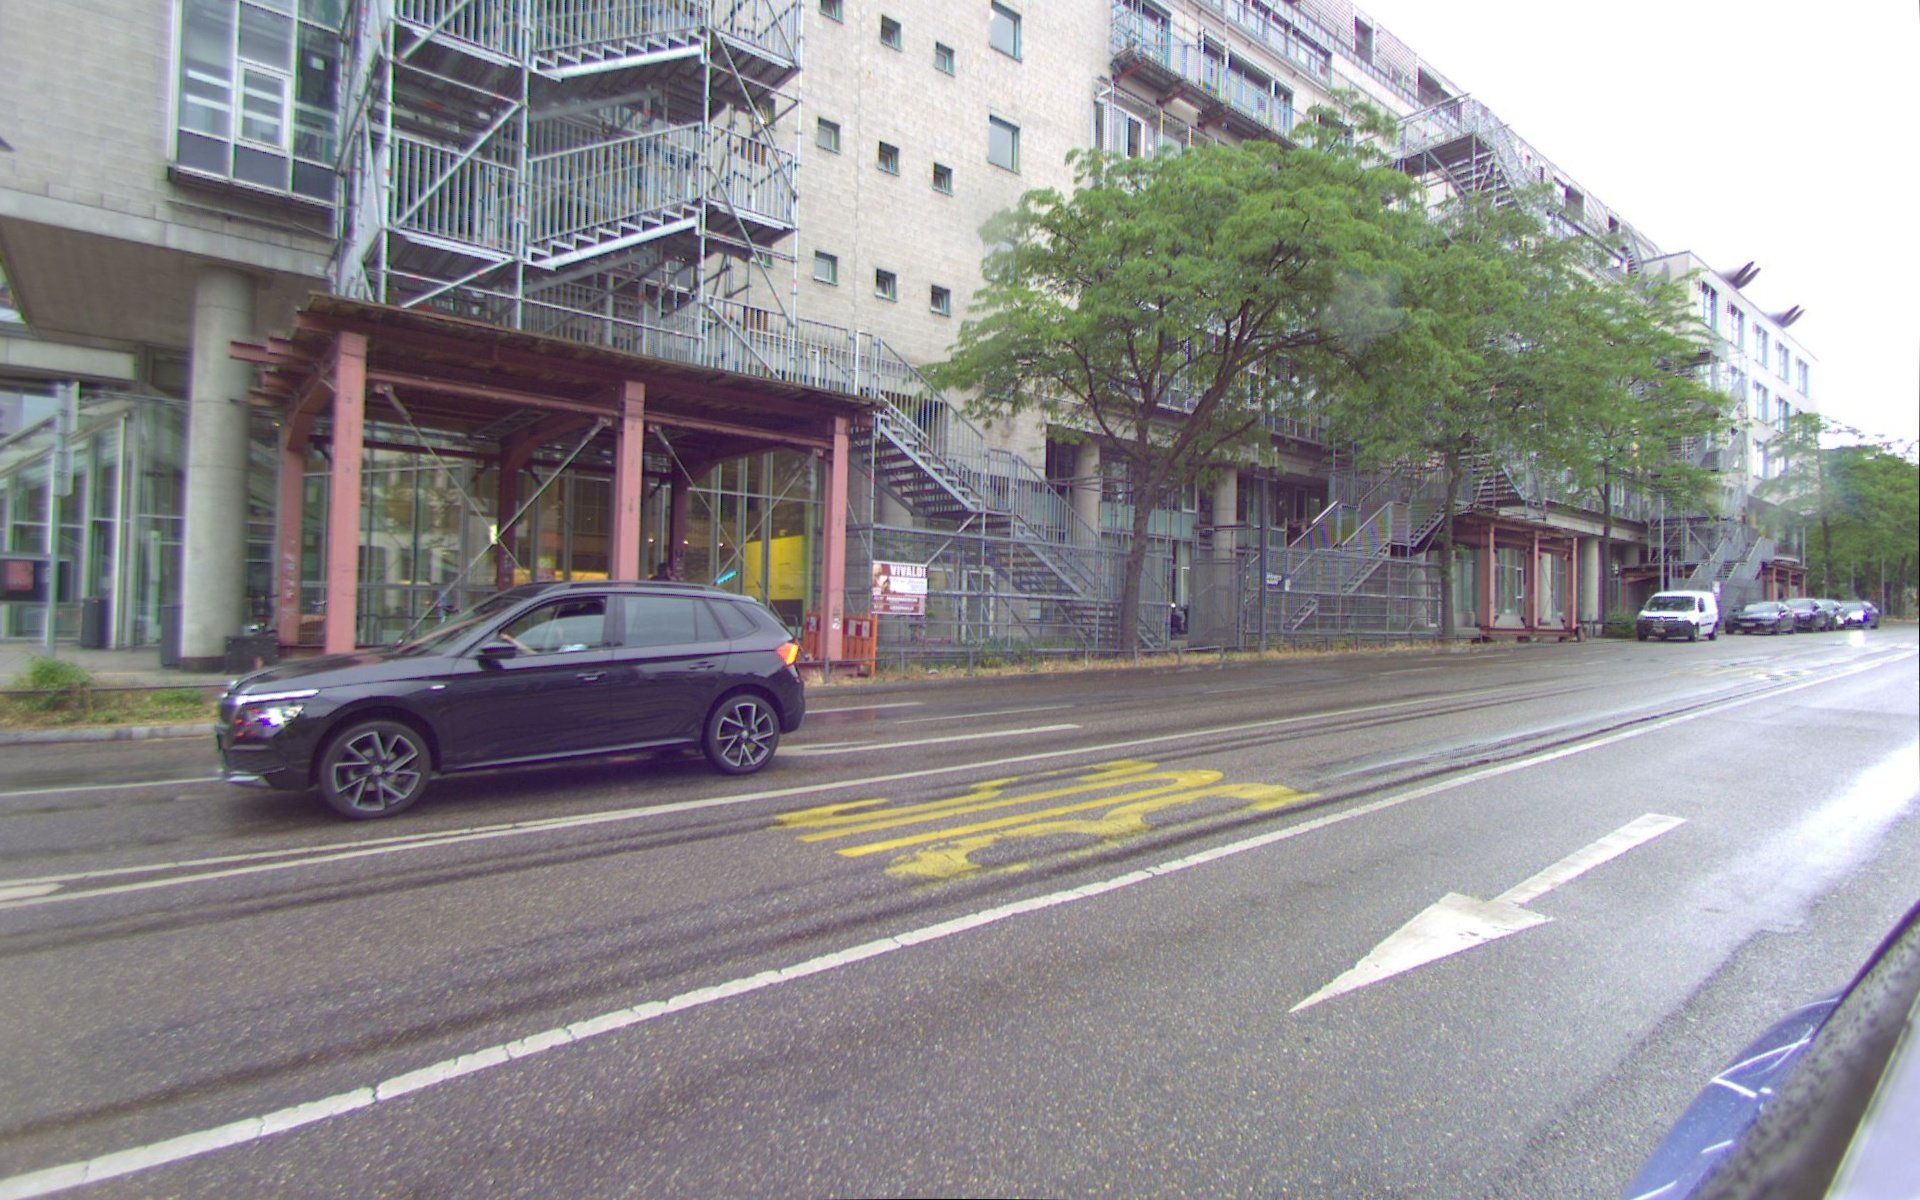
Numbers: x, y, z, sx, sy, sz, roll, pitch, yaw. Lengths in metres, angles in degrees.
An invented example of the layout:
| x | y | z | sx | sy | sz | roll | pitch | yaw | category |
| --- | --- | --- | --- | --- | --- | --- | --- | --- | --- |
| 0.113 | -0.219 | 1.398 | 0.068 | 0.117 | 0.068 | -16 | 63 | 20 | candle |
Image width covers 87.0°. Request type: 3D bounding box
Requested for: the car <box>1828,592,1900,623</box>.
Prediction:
| x | y | z | sx | sy | sz | roll | pitch | yaw | category |
| --- | --- | --- | --- | --- | --- | --- | --- | --- | --- |
| 49.121 | 0.400 | 54.965 | 5.191 | 1.621 | 1.999 | 0 | 0 | -38 | car |

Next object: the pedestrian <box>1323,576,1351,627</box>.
| x | y | z | sx | sy | sz | roll | pitch | yaw | category |
| --- | --- | --- | --- | --- | --- | --- | --- | --- | --- |
| 13.254 | 0.037 | 35.611 | 0.641 | 1.764 | 0.678 | 0 | 0 | -38 | pedestrian |

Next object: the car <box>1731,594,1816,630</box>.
| x | y | z | sx | sy | sz | roll | pitch | yaw | category |
| --- | --- | --- | --- | --- | --- | --- | --- | --- | --- |
| 35.266 | 0.505 | 43.821 | 4.831 | 1.455 | 1.873 | 0 | 0 | -39 | car |

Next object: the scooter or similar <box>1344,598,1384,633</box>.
| x | y | z | sx | sy | sz | roll | pitch | yaw | category |
| --- | --- | --- | --- | --- | --- | --- | --- | --- | --- |
| 13.813 | 0.519 | 34.562 | 1.520 | 1.176 | 0.632 | 0 | 0 | -41 | scooter or similar |

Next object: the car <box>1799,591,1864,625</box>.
| x | y | z | sx | sy | sz | roll | pitch | yaw | category |
| --- | --- | --- | --- | --- | --- | --- | --- | --- | --- |
| 44.400 | 0.384 | 51.538 | 4.512 | 1.621 | 1.865 | 0 | 0 | -41 | car |

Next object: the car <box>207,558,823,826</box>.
| x | y | z | sx | sy | sz | roll | pitch | yaw | category |
| --- | --- | --- | --- | --- | --- | --- | --- | --- | --- |
| -3.278 | 0.527 | 7.857 | 4.071 | 1.559 | 1.782 | 0 | 0 | -39 | car |

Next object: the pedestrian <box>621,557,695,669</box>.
| x | y | z | sx | sy | sz | roll | pitch | yaw | category |
| --- | --- | --- | --- | --- | --- | --- | --- | --- | --- |
| -5.258 | 0.213 | 17.622 | 1.037 | 1.875 | 0.681 | 0 | 0 | -40 | pedestrian |

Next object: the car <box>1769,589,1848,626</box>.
| x | y | z | sx | sy | sz | roll | pitch | yaw | category |
| --- | --- | --- | --- | --- | --- | --- | --- | --- | --- |
| 40.370 | 0.359 | 48.126 | 4.774 | 1.667 | 1.998 | 0 | 0 | -39 | car |

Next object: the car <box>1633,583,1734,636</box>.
| x | y | z | sx | sy | sz | roll | pitch | yaw | category |
| --- | --- | --- | --- | --- | --- | --- | --- | --- | --- |
| 26.232 | 0.316 | 36.633 | 4.447 | 1.772 | 1.997 | 0 | 0 | -41 | car |
